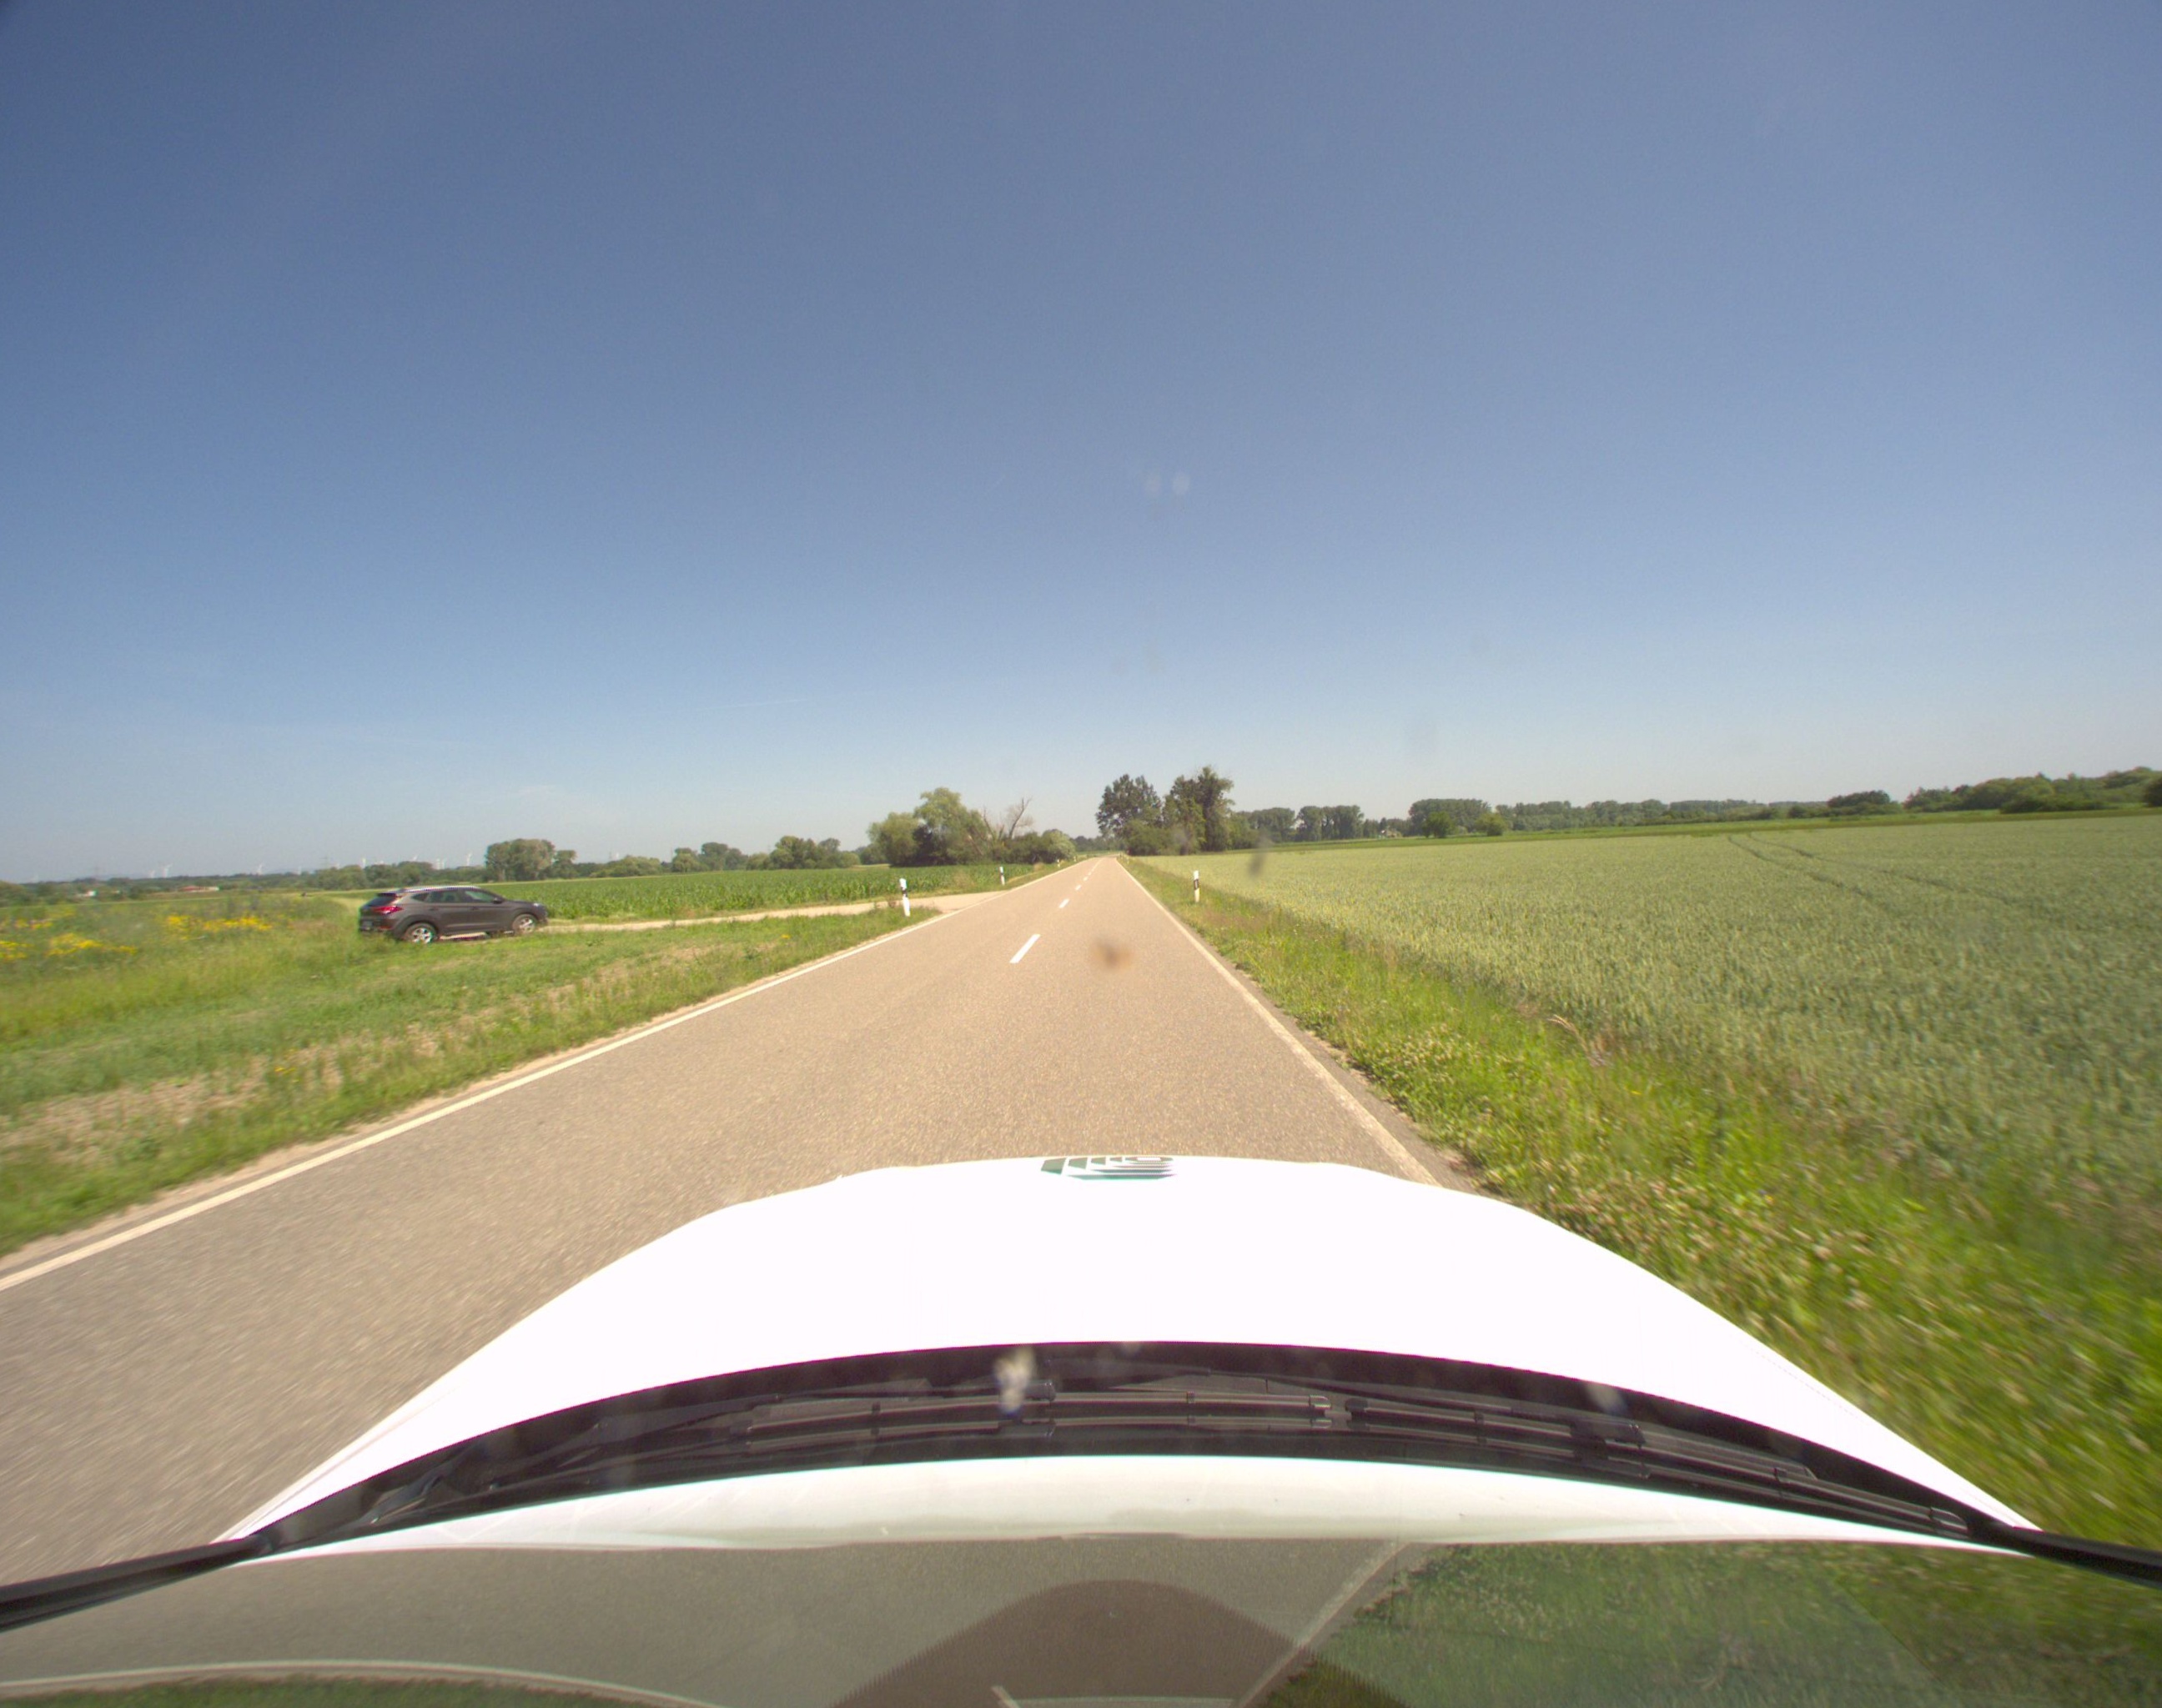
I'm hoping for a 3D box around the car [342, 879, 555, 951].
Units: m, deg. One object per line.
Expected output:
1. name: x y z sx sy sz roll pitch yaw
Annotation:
1. car: -18.343 1.711 23.886 1.736 1.651 4.557 -3 0 27
